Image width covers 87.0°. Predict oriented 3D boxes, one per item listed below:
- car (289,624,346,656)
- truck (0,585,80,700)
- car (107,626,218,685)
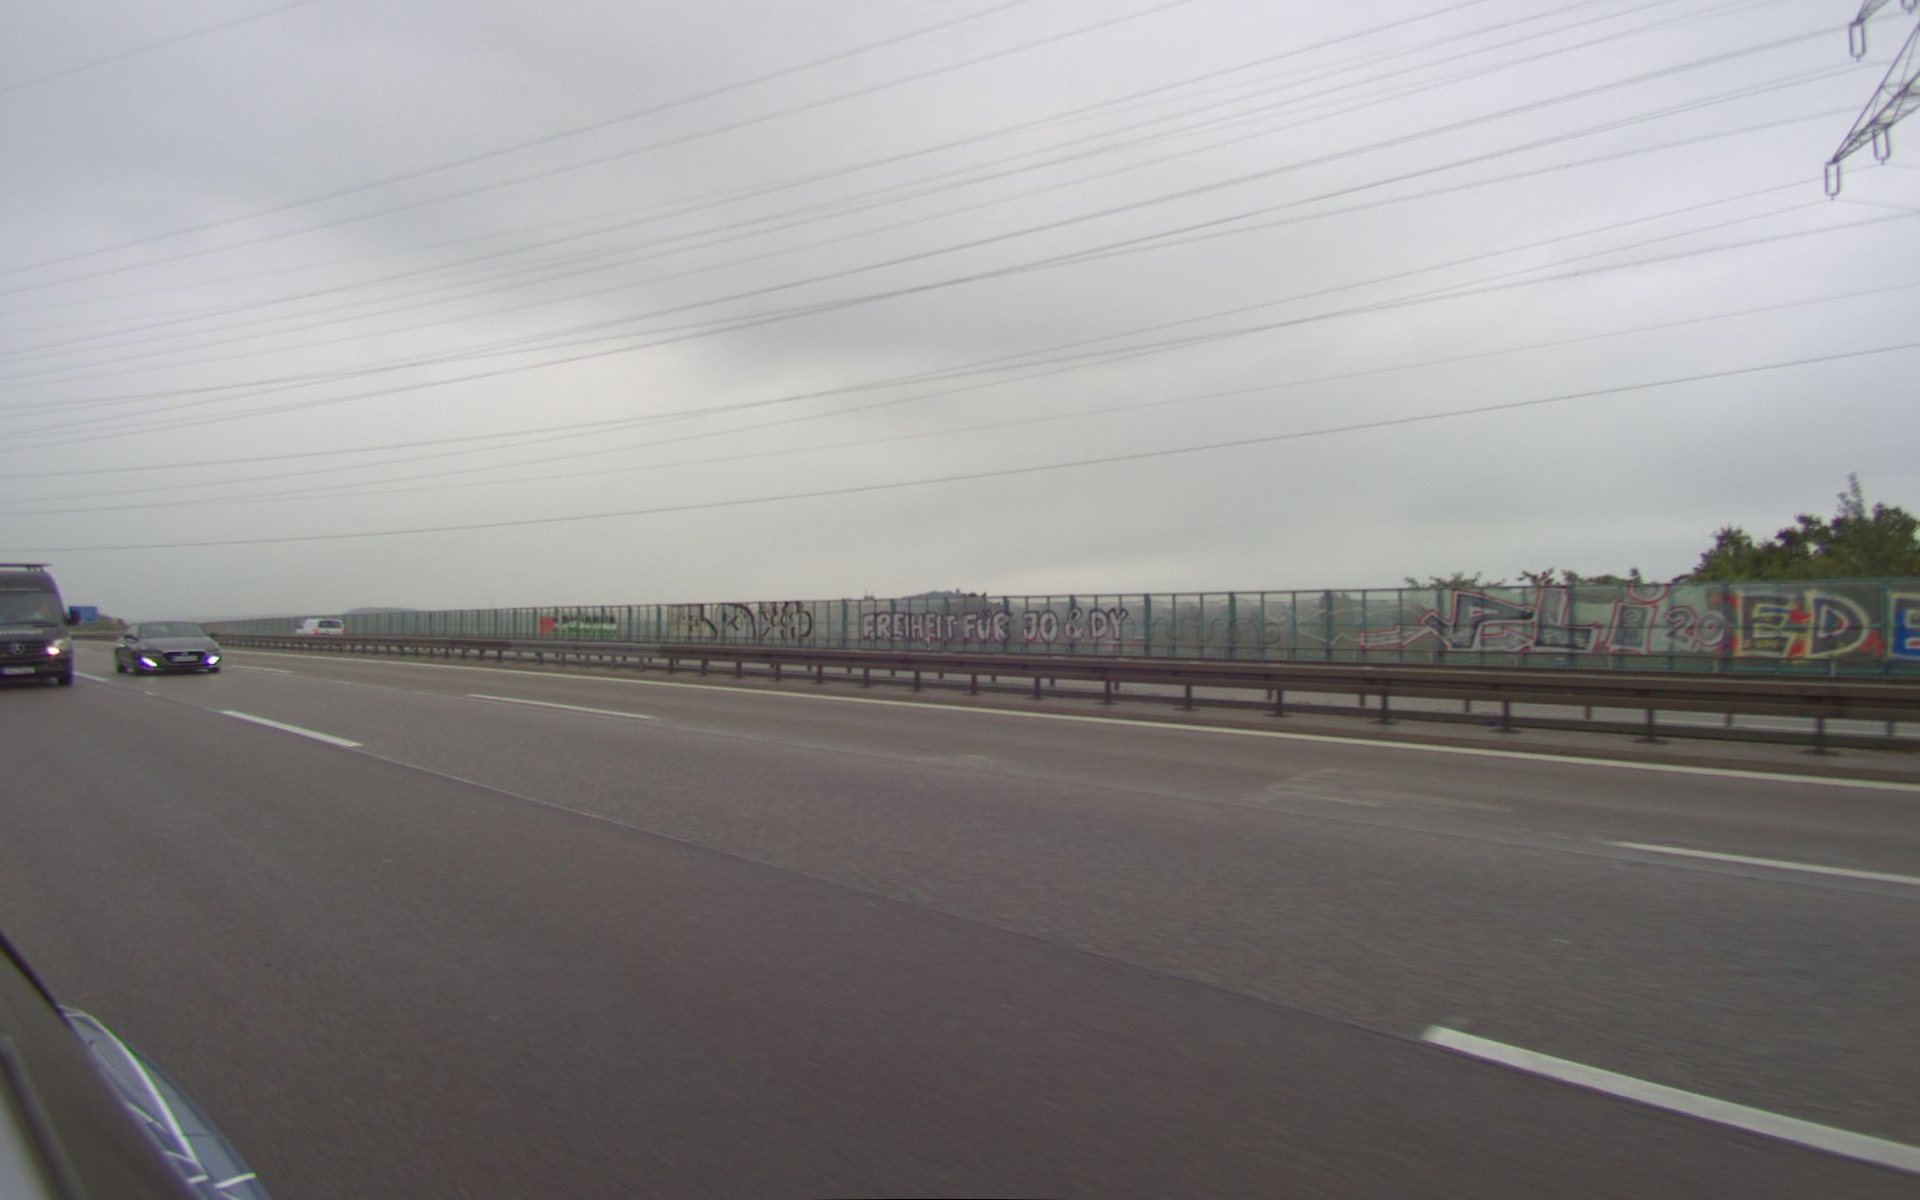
[{"bbox_3d":[-44.482,2.735,70.040,5.009,2.029,1.973,-1,0,41],"label":"car"},{"bbox_3d":[-21.771,0.890,22.860,6.107,2.355,1.973,0,-1,41],"label":"truck"},{"bbox_3d":[-21.361,1.463,27.043,4.830,1.413,1.706,-3,-2,44],"label":"car"}]
